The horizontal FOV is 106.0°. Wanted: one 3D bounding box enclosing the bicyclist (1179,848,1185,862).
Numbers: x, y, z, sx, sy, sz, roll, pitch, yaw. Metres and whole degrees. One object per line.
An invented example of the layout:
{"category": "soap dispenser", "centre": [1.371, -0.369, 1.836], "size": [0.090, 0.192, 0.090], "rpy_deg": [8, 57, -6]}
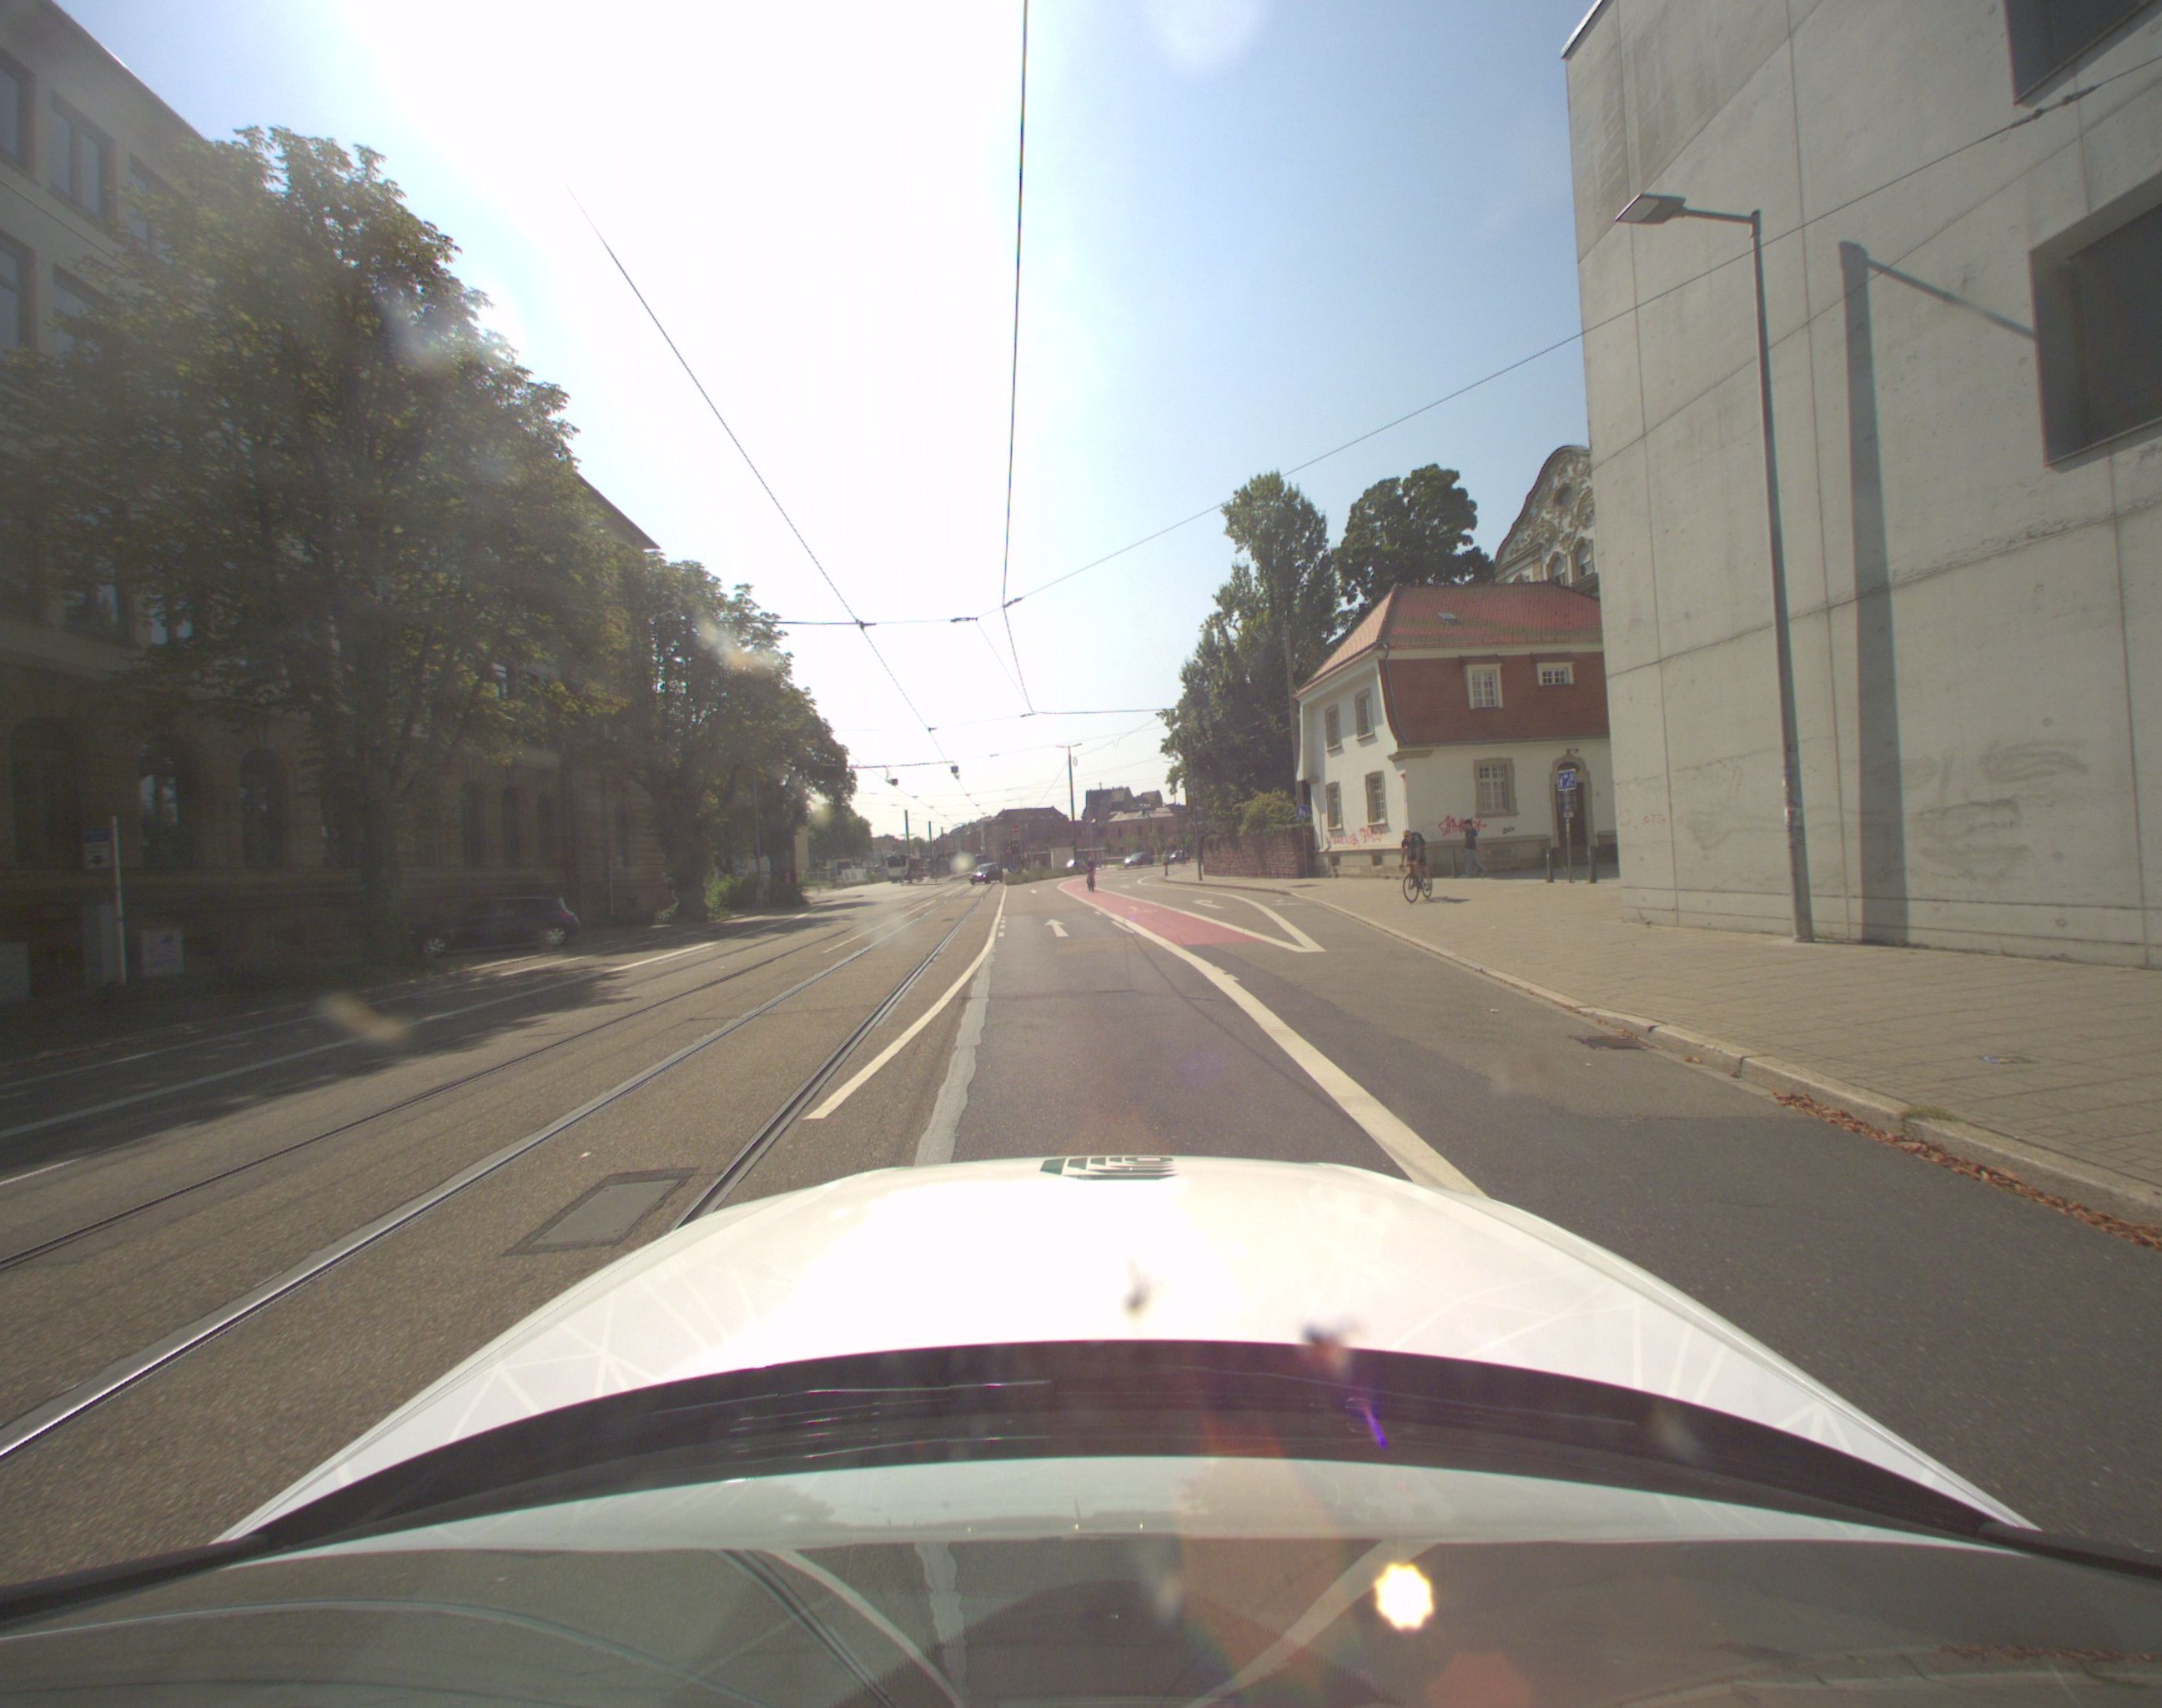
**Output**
{"category": "bicyclist", "centre": [10.740, 0.093, 86.719], "size": [0.445, 1.421, 0.499], "rpy_deg": [-4, -1, 30]}

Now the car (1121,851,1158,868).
{"category": "car", "centre": [6.785, 0.620, 94.309], "size": [1.755, 1.610, 4.703], "rpy_deg": [-4, 0, 41]}

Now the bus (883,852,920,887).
{"category": "bus", "centre": [-21.505, 1.841, 98.204], "size": [2.954, 3.774, 10.575], "rpy_deg": [-3, -1, -6]}

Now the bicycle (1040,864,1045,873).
{"category": "bicycle", "centre": [-4.949, 1.853, 104.674], "size": [0.463, 1.032, 1.546], "rpy_deg": [-3, -1, -3]}

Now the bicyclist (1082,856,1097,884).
{"category": "bicyclist", "centre": [0.417, 0.786, 39.631], "size": [0.602, 1.335, 0.658], "rpy_deg": [-4, -1, -5]}

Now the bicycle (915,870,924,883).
{"category": "bicycle", "centre": [-16.916, 2.363, 85.258], "size": [0.605, 1.222, 1.704], "rpy_deg": [-4, 0, -1]}

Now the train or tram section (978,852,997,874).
{"category": "train or tram section", "centre": [-19.248, 1.944, 168.835], "size": [2.881, 4.068, 19.108], "rpy_deg": [-3, -1, -4]}

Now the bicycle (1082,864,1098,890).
{"category": "bicycle", "centre": [0.445, 1.104, 39.722], "size": [0.603, 1.163, 1.808], "rpy_deg": [-4, 0, -3]}

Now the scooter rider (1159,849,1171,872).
{"category": "scooter rider", "centre": [6.662, 0.530, 64.762], "size": [0.756, 1.775, 0.557], "rpy_deg": [-4, -1, 15]}

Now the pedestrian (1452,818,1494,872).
{"category": "pedestrian", "centre": [12.524, -0.284, 26.025], "size": [0.876, 1.665, 0.727], "rpy_deg": [-3, 0, -9]}

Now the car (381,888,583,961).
{"category": "car", "centre": [-16.110, 1.822, 22.042], "size": [4.187, 1.496, 1.799], "rpy_deg": [-3, 0, -43]}

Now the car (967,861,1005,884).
{"category": "car", "centre": [-7.805, 1.509, 67.126], "size": [1.677, 1.655, 3.598], "rpy_deg": [-3, -1, 18]}

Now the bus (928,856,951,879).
{"category": "bus", "centre": [-24.806, 2.379, 143.453], "size": [2.704, 3.727, 10.404], "rpy_deg": [-3, -1, -4]}

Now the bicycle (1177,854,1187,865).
{"category": "bicycle", "centre": [10.760, 0.606, 86.684], "size": [0.440, 1.116, 1.455], "rpy_deg": [-4, -1, 30]}

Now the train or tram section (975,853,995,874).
{"category": "train or tram section", "centre": [-17.649, 1.742, 150.524], "size": [2.852, 3.548, 17.707], "rpy_deg": [-3, -1, -5]}

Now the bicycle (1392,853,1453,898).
{"category": "bicycle", "centre": [8.425, 0.521, 20.057], "size": [1.720, 1.000, 0.608], "rpy_deg": [-3, -1, -40]}

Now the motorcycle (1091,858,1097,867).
{"category": "motorcycle", "centre": [1.774, 1.178, 110.753], "size": [0.601, 1.210, 2.257], "rpy_deg": [-4, 0, 6]}

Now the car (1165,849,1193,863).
{"category": "car", "centre": [12.573, 0.255, 104.524], "size": [1.634, 1.530, 4.353], "rpy_deg": [-4, -1, 34]}

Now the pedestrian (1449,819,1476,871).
{"category": "pedestrian", "centre": [12.520, -0.283, 26.738], "size": [0.485, 1.666, 0.618], "rpy_deg": [-3, 0, -9]}

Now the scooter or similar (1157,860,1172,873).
{"category": "scooter or similar", "centre": [6.632, 0.993, 64.549], "size": [0.766, 0.926, 1.628], "rpy_deg": [-3, 0, 17]}

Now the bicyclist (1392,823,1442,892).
{"category": "bicyclist", "centre": [8.231, 0.083, 19.941], "size": [0.997, 1.598, 0.621], "rpy_deg": [-3, -2, -39]}
